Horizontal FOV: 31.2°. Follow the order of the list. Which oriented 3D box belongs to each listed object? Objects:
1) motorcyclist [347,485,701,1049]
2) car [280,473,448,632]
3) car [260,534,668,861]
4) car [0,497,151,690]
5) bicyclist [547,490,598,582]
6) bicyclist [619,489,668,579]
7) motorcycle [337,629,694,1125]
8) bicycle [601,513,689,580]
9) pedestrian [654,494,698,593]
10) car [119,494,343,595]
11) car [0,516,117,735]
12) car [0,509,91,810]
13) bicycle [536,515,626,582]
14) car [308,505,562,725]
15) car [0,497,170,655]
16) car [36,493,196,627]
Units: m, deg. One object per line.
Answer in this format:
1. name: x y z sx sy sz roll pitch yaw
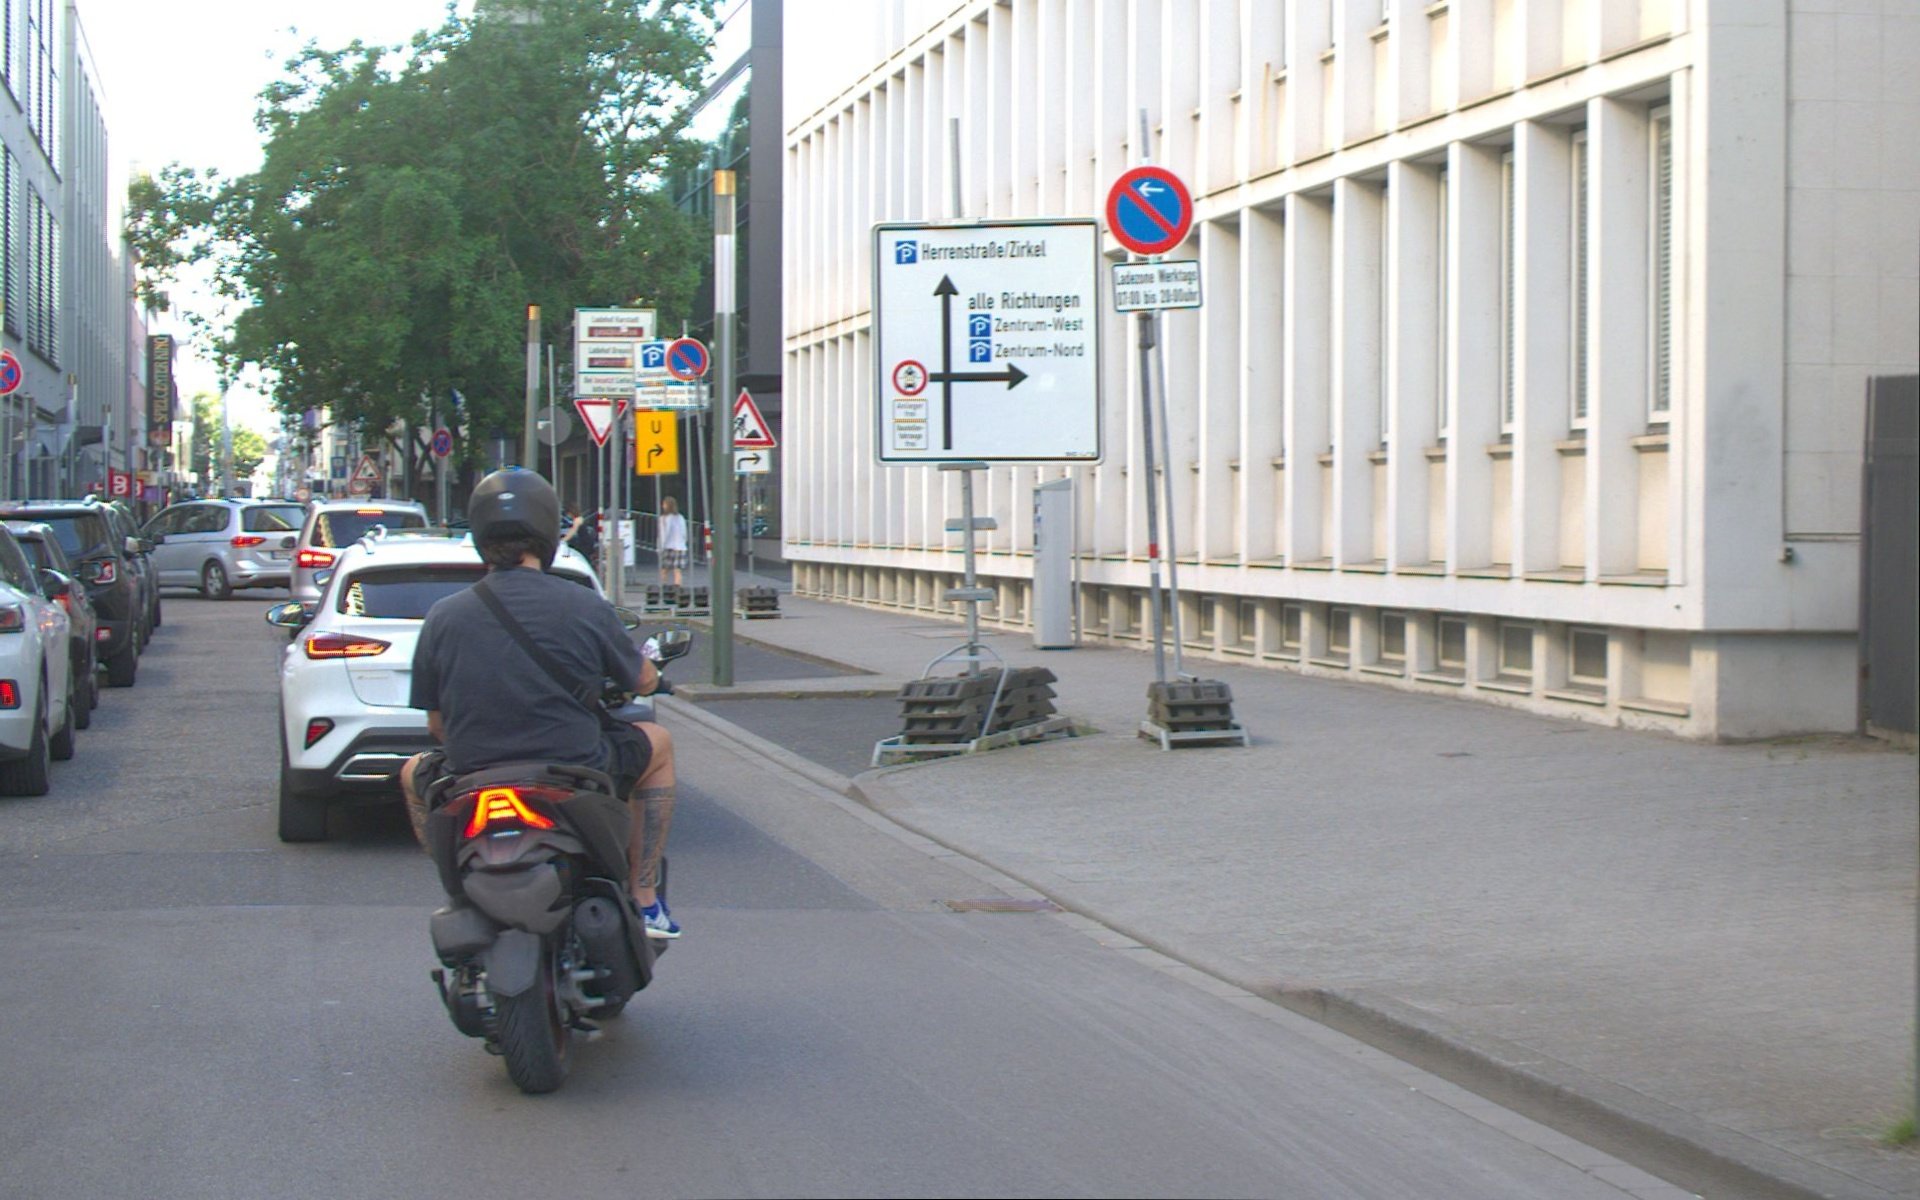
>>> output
1. motorcyclist: -1.258 0.445 10.173 0.954 1.554 1.239 -1 2 -4
2. car: -7.439 -0.624 42.675 1.924 1.850 4.001 -1 2 -11
3. car: -2.529 0.421 18.042 1.859 1.467 4.001 1 1 -6
4. car: -8.419 -0.099 31.441 1.810 1.640 3.516 -2 2 -11
5. bicyclist: -7.273 -1.206 64.531 0.747 1.700 0.737 0 2 10
6. bicyclist: -6.070 -1.269 65.890 0.747 1.700 0.737 0 2 10
7. motorcycle: -1.258 0.732 10.247 0.905 1.179 2.579 -1 2 -4
8. bicycle: -6.038 -1.028 65.891 1.564 1.245 0.552 0 2 10
9. pedestrian: -4.606 -0.918 55.770 0.642 1.596 0.620 -1 2 -9
10. car: -12.030 -0.929 56.589 1.899 1.590 3.998 -1 2 -41
11. car: -7.443 0.159 26.135 1.810 1.522 3.516 -2 2 -11
12. car: -6.239 0.290 20.422 1.810 1.601 4.269 -2 2 -11
13. bicycle: -7.109 -0.966 64.496 1.564 1.245 0.552 0 2 10
14. car: -4.133 0.049 26.702 1.773 1.545 4.108 -1 2 -10
15. car: -9.650 -0.302 37.666 1.776 1.601 3.516 -2 2 -11
16. car: -10.763 -0.543 44.030 1.776 1.601 3.516 -2 2 -11
